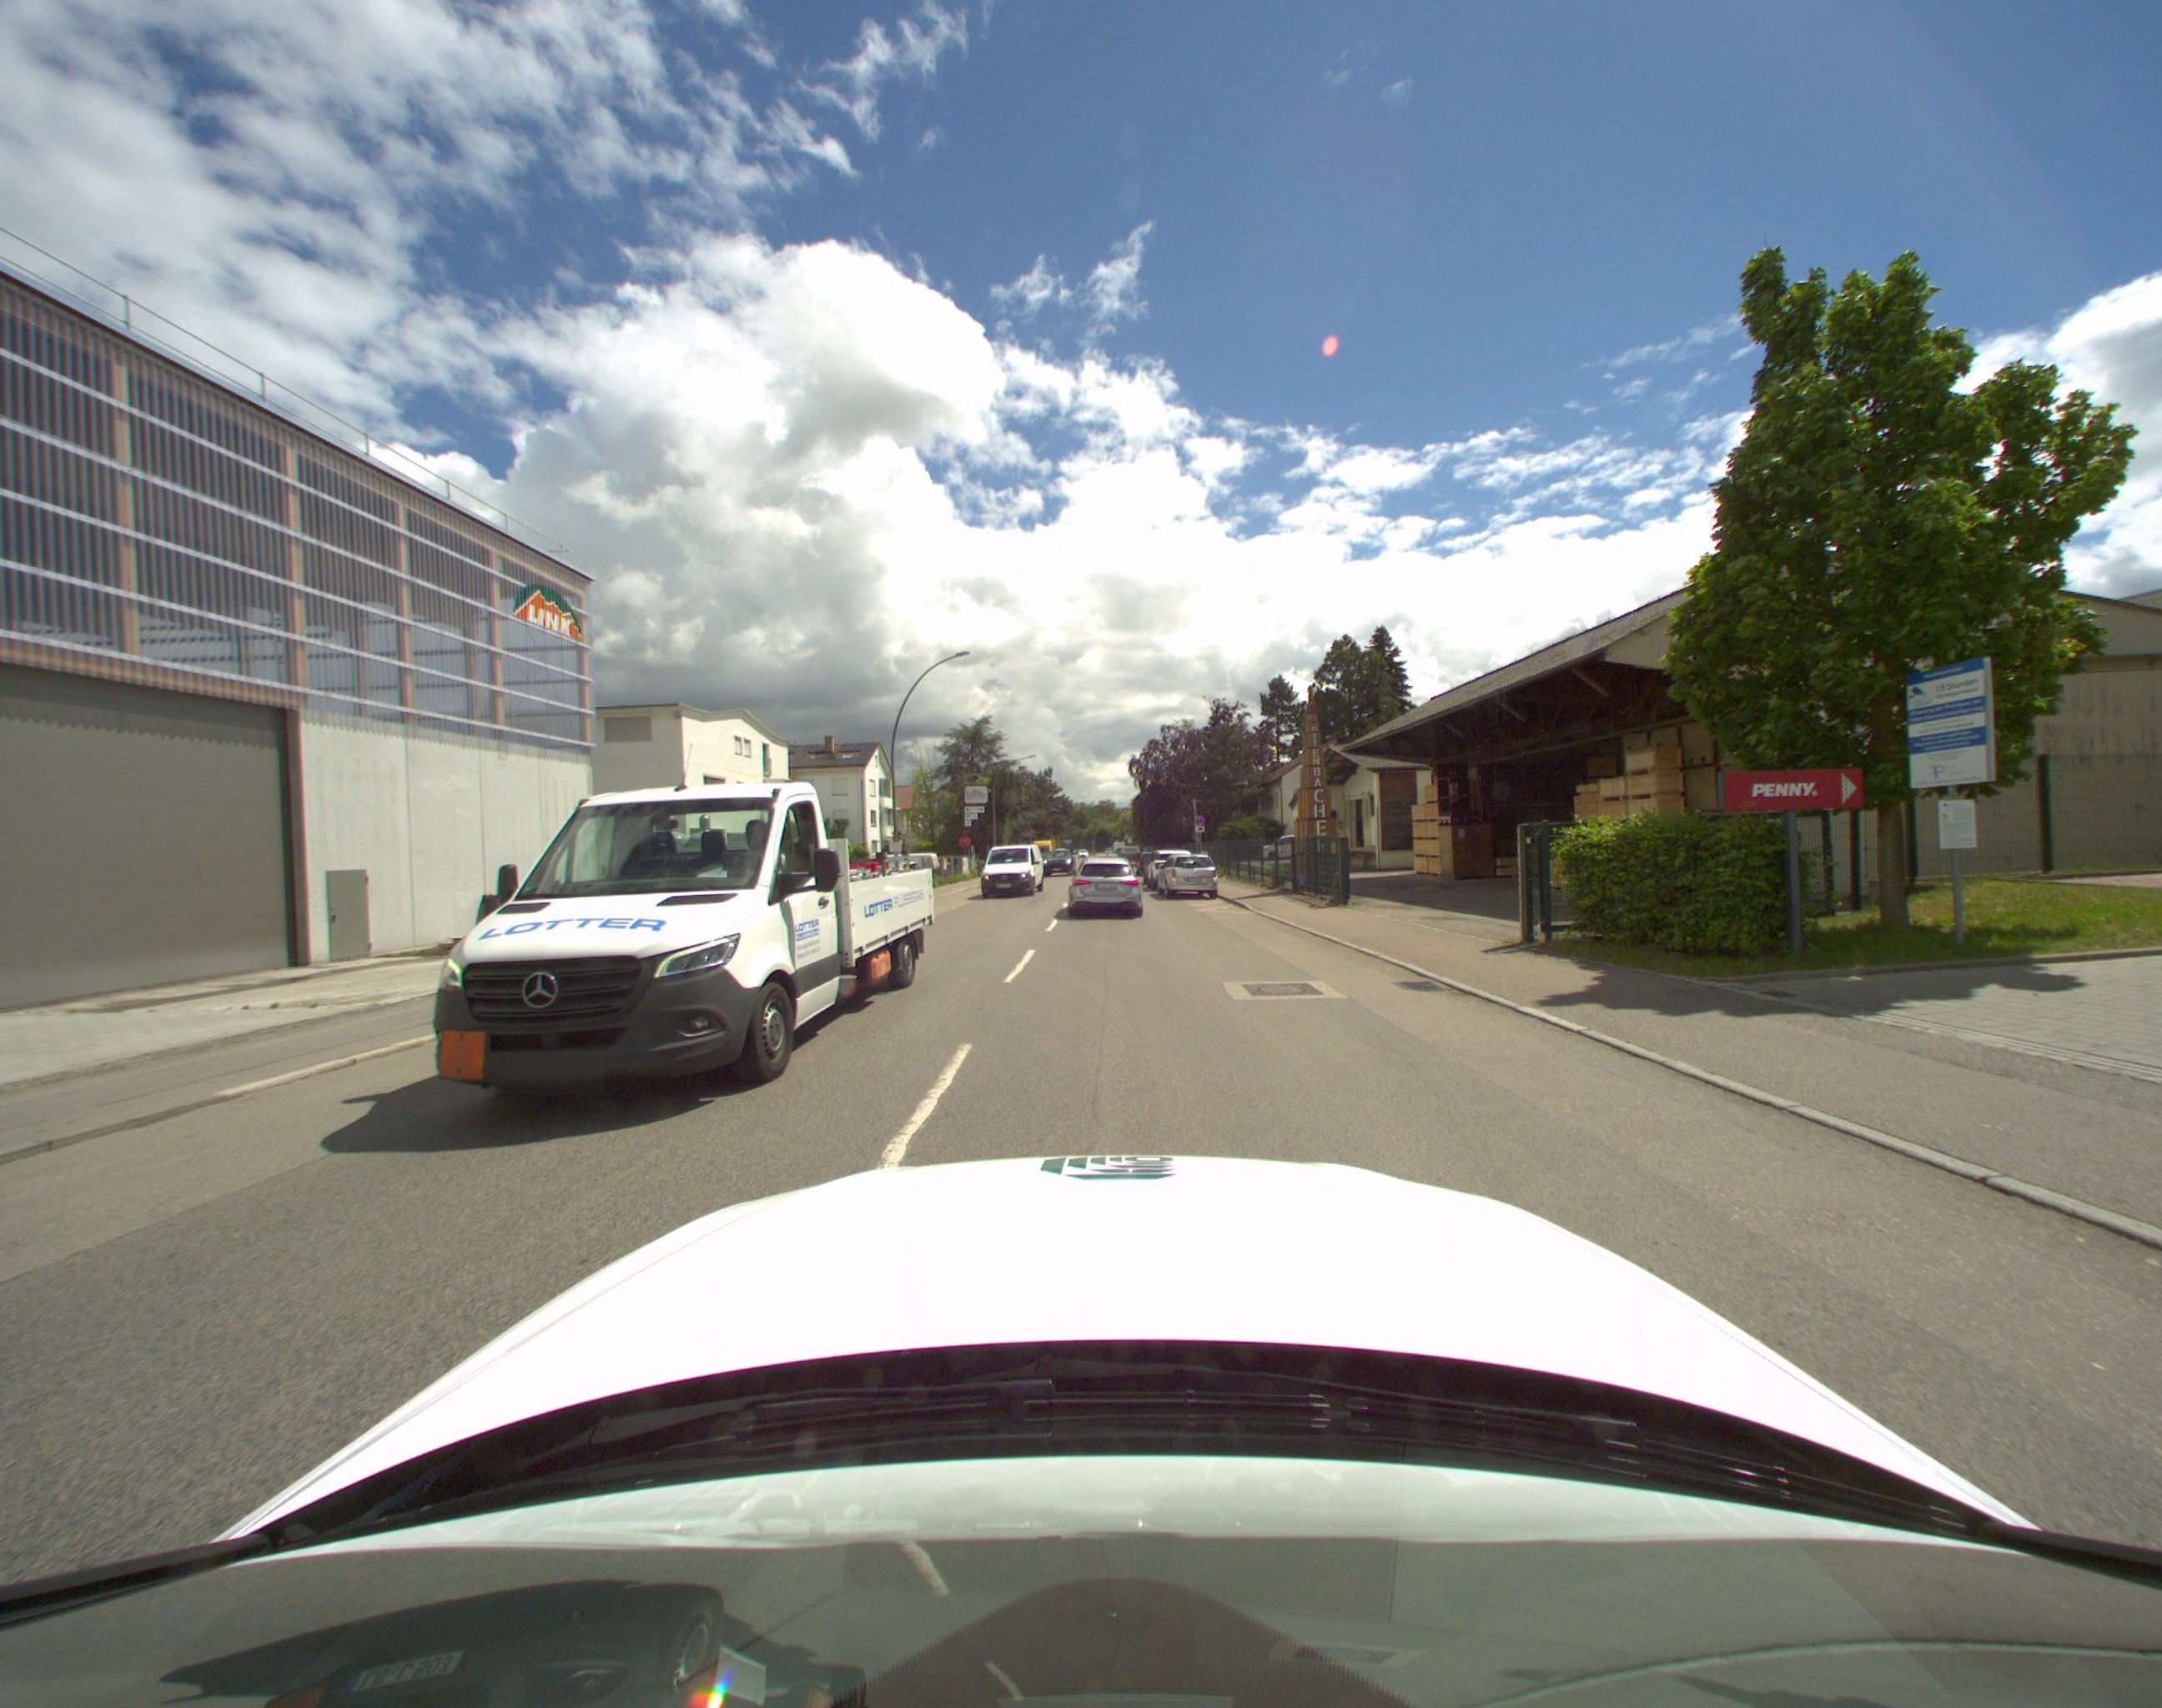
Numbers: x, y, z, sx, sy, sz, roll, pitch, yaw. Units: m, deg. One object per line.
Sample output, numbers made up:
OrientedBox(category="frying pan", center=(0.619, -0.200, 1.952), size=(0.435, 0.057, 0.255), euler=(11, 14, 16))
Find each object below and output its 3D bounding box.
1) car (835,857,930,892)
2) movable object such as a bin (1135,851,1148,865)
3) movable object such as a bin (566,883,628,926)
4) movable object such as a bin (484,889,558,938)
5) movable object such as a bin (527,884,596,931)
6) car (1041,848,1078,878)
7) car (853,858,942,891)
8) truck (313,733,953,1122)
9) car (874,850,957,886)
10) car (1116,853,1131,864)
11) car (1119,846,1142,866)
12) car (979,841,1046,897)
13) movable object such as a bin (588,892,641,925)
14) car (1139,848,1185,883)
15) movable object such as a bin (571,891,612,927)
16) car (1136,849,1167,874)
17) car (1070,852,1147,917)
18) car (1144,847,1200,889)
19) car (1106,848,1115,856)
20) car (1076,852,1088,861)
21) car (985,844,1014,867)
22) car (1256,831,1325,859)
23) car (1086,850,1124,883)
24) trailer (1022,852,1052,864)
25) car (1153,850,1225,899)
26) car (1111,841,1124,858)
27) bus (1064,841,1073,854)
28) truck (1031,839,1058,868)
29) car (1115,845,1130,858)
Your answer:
OrientedBox(category="car", center=(-10.045, 1.071, 41.445), size=(4.264, 1.567, 1.991), euler=(-2, -3, 1))
OrientedBox(category="movable object such as a bin", center=(5.344, 0.354, 71.618), size=(1.080, 1.271, 1.380), euler=(0, 0, 1))
OrientedBox(category="movable object such as a bin", center=(-17.117, 1.751, 28.854), size=(0.953, 1.356, 1.820), euler=(-3, 0, 3))
OrientedBox(category="movable object such as a bin", center=(-17.248, 1.820, 25.135), size=(0.953, 1.356, 1.820), euler=(0, 0, 3))
OrientedBox(category="movable object such as a bin", center=(-17.178, 1.755, 26.983), size=(0.953, 1.356, 1.820), euler=(-3, 0, 3))
OrientedBox(category="car", center=(-1.350, 0.529, 53.015), size=(1.985, 1.733, 4.552), euler=(-3, 0, 3))
OrientedBox(category="car", center=(-9.801, 1.147, 43.801), size=(4.266, 1.567, 1.991), euler=(-2, -3, 0))
OrientedBox(category="truck", center=(-3.152, 0.411, 7.999), size=(2.309, 2.178, 6.455), euler=(-3, 0, 3))
OrientedBox(category="car", center=(-9.470, 0.808, 46.751), size=(4.266, 1.836, 1.991), euler=(-2, -3, 0))
OrientedBox(category="car", center=(5.601, 0.598, 108.036), size=(1.779, 1.484, 4.315), euler=(-1, 0, -1))
OrientedBox(category="car", center=(5.250, 0.151, 87.044), size=(2.136, 1.984, 5.263), euler=(-2, 0, 2))
OrientedBox(category="car", center=(-2.528, 0.511, 31.198), size=(1.987, 1.888, 5.117), euler=(-2, 1, 1))
OrientedBox(category="movable object such as a bin", center=(-14.978, 1.735, 26.179), size=(0.740, 0.919, 1.520), euler=(-3, 0, 3))
OrientedBox(category="car", center=(3.895, 0.514, 39.742), size=(1.685, 1.552, 4.082), euler=(-2, 0, -2))
OrientedBox(category="movable object such as a bin", center=(-15.051, 1.690, 25.060), size=(0.740, 1.030, 0.712), euler=(-3, 0, 3))
OrientedBox(category="car", center=(4.346, 0.434, 50.483), size=(1.683, 1.450, 3.850), euler=(-2, 0, 2))
OrientedBox(category="car", center=(0.625, 0.725, 21.047), size=(1.779, 1.484, 4.315), euler=(-1, 0, -1))
OrientedBox(category="car", center=(3.684, 0.517, 33.710), size=(1.786, 1.552, 4.574), euler=(-3, 0, 1))
OrientedBox(category="car", center=(6.237, -0.406, 174.626), size=(1.750, 1.558, 4.000), euler=(-2, 1, 1))
OrientedBox(category="car", center=(0.175, 0.463, 145.803), size=(1.927, 1.492, 4.364), euler=(-3, 1, 1))
OrientedBox(category="car", center=(-6.484, 0.096, 65.246), size=(1.989, 1.657, 3.996), euler=(-3, 1, -3))
OrientedBox(category="car", center=(16.674, -0.705, 65.112), size=(4.994, 1.929, 2.002), euler=(-4, 0, 4))
OrientedBox(category="car", center=(1.195, 0.619, 41.862), size=(1.750, 1.558, 3.999), euler=(-2, 1, -1))
OrientedBox(category="trailer", center=(-3.687, 0.319, 70.012), size=(2.221, 0.925, 5.948), euler=(-1, 1, 0))
OrientedBox(category="car", center=(3.637, 0.634, 28.194), size=(1.786, 1.450, 4.361), euler=(-3, 0, -1))
OrientedBox(category="car", center=(5.620, -0.612, 124.674), size=(1.779, 2.518, 4.315), euler=(-1, 0, -1))
OrientedBox(category="bus", center=(-3.314, -1.680, 211.634), size=(1.989, 3.364, 6.973), euler=(0, 1, -4))
OrientedBox(category="truck", center=(-3.742, -0.054, 85.550), size=(2.067, 2.814, 7.082), euler=(-3, 1, 2))
OrientedBox(category="car", center=(5.672, -0.380, 112.326), size=(1.779, 1.715, 4.315), euler=(-1, 0, -1))
